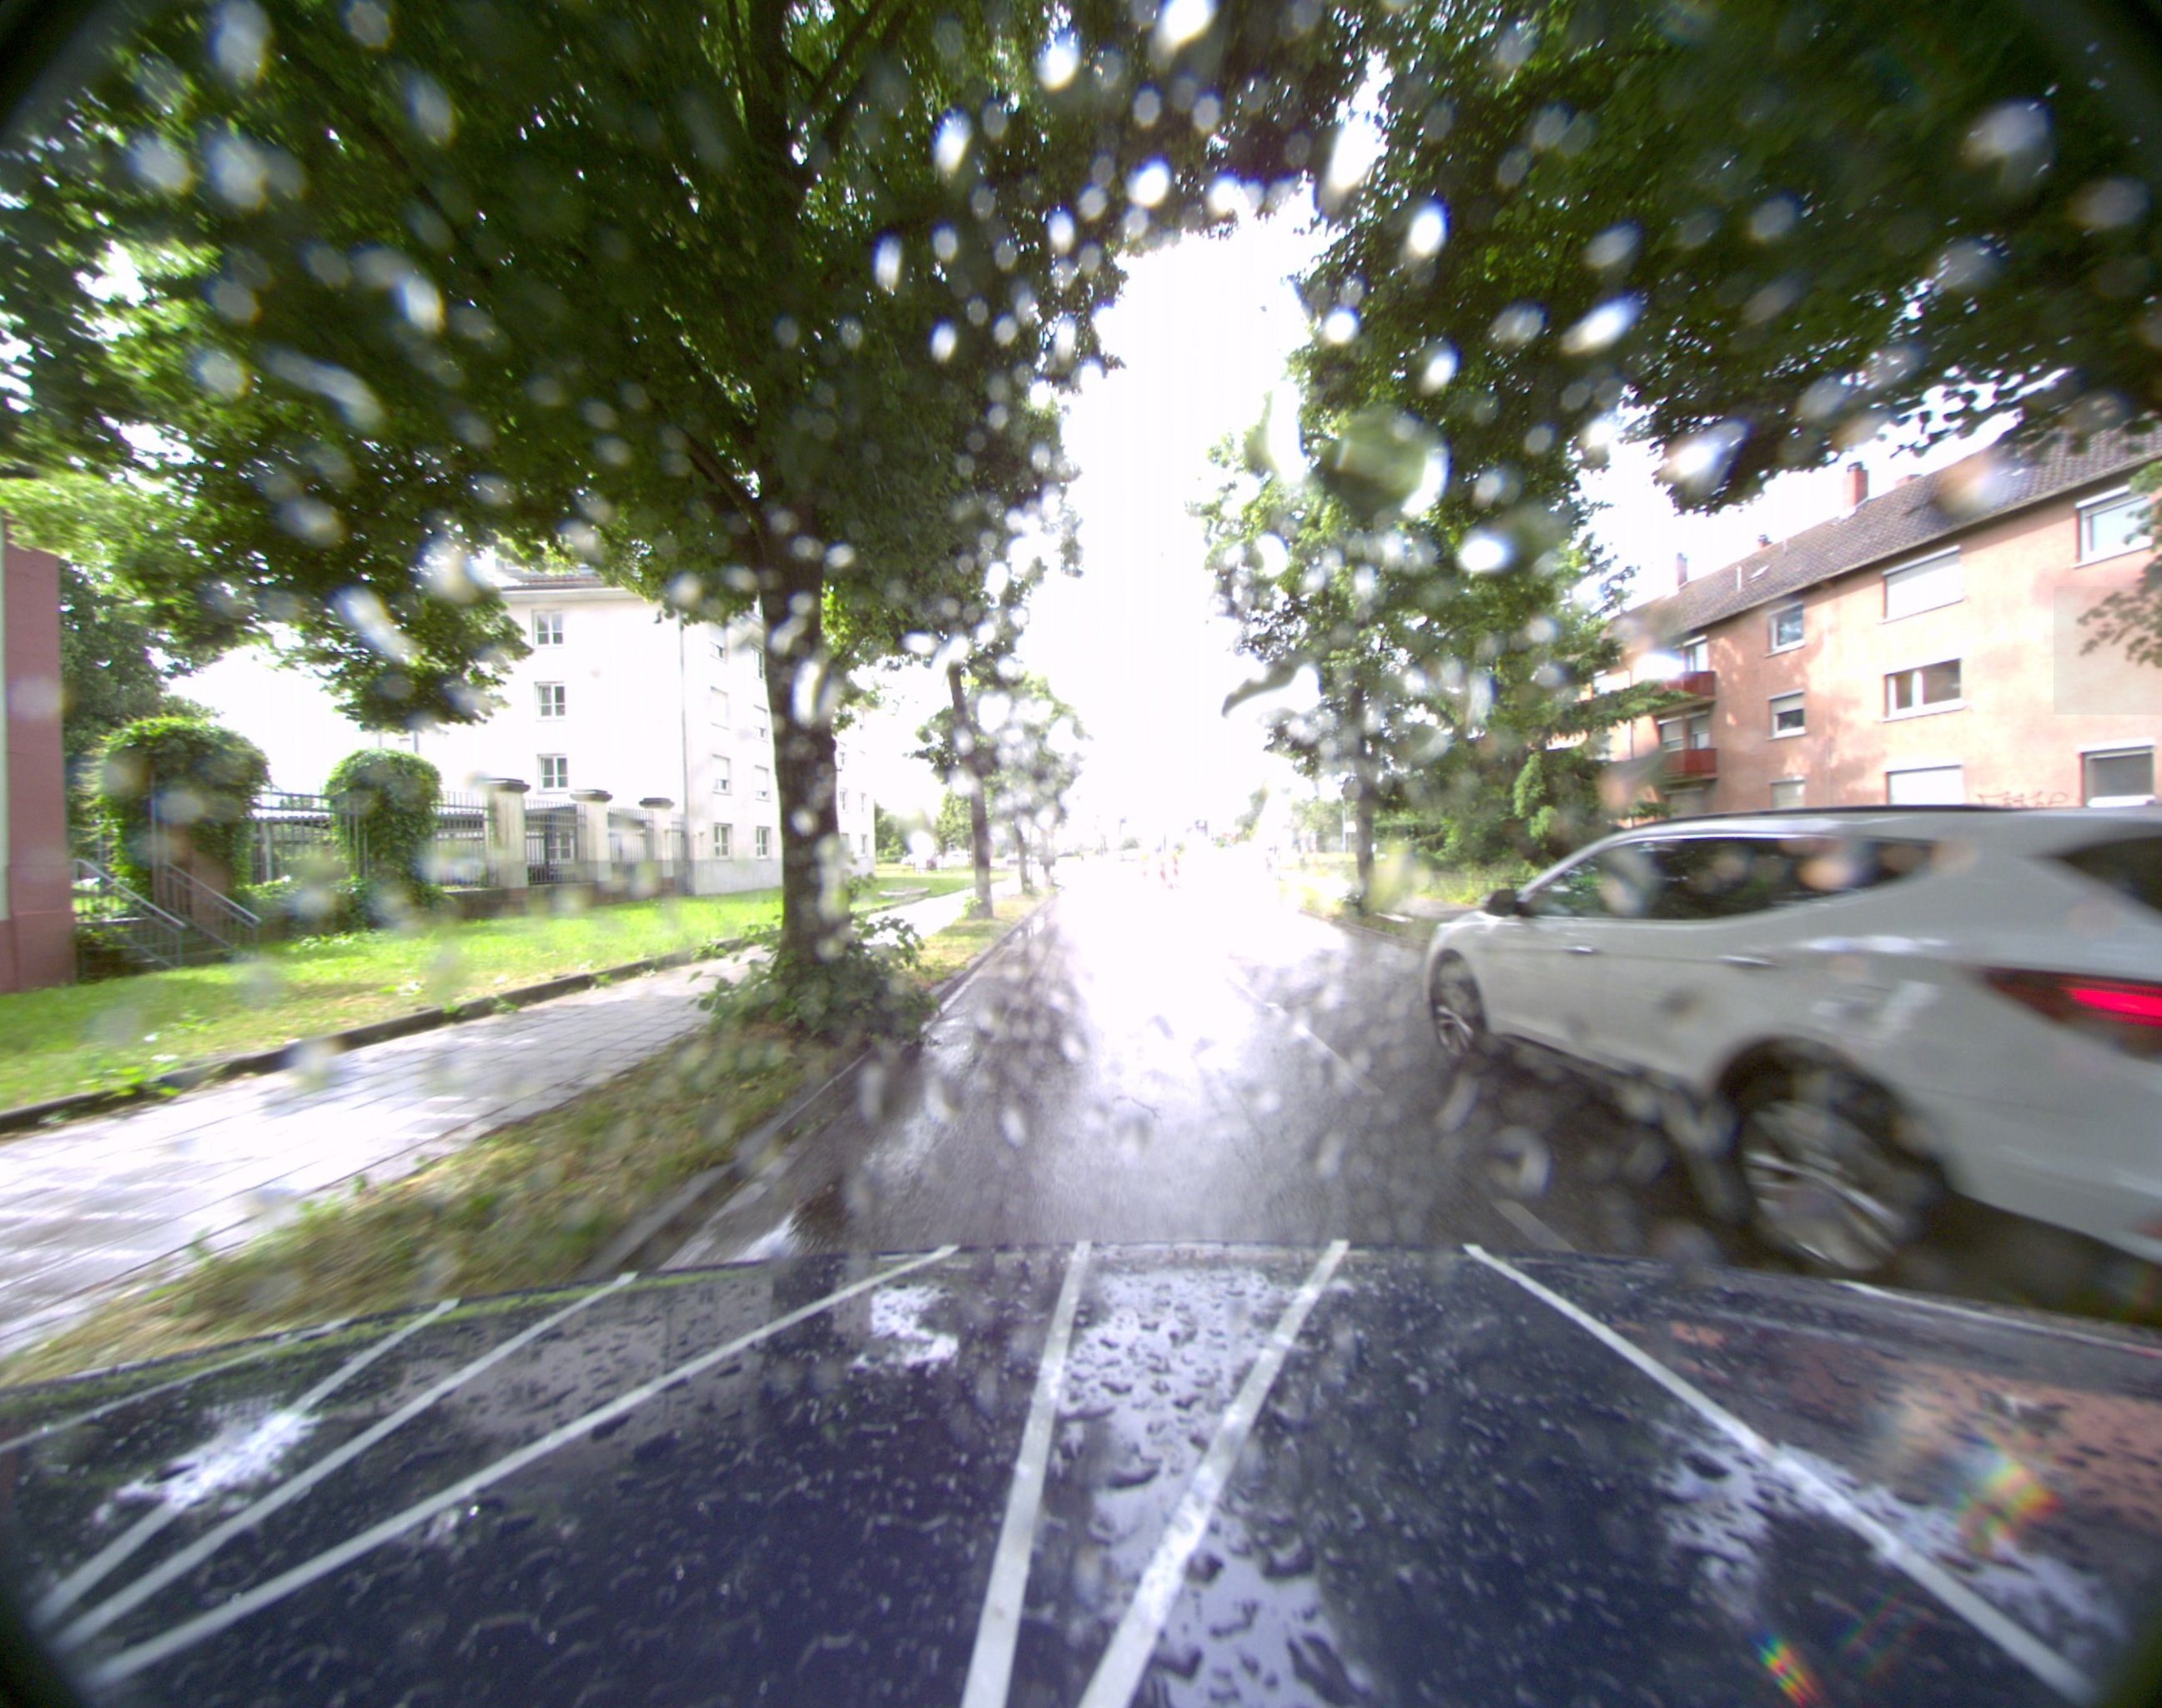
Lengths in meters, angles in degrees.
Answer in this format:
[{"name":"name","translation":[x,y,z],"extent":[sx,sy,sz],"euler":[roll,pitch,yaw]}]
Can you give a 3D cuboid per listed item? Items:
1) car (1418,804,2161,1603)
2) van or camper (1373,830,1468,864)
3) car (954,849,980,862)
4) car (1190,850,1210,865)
[{"name":"car","translation":[3.301,0.719,3.329],"extent":[1.891,1.703,4.229],"euler":[-1,0,2]},{"name":"van or camper","translation":[28.452,-0.536,63.826],"extent":[6.964,2.632,2.516],"euler":[-1,1,32]},{"name":"car","translation":[-14.549,0.192,96.843],"extent":[1.895,1.703,4.220],"euler":[-1,1,-28]},{"name":"car","translation":[12.280,0.358,78.550],"extent":[1.683,1.499,3.794],"euler":[-1,0,4]}]
